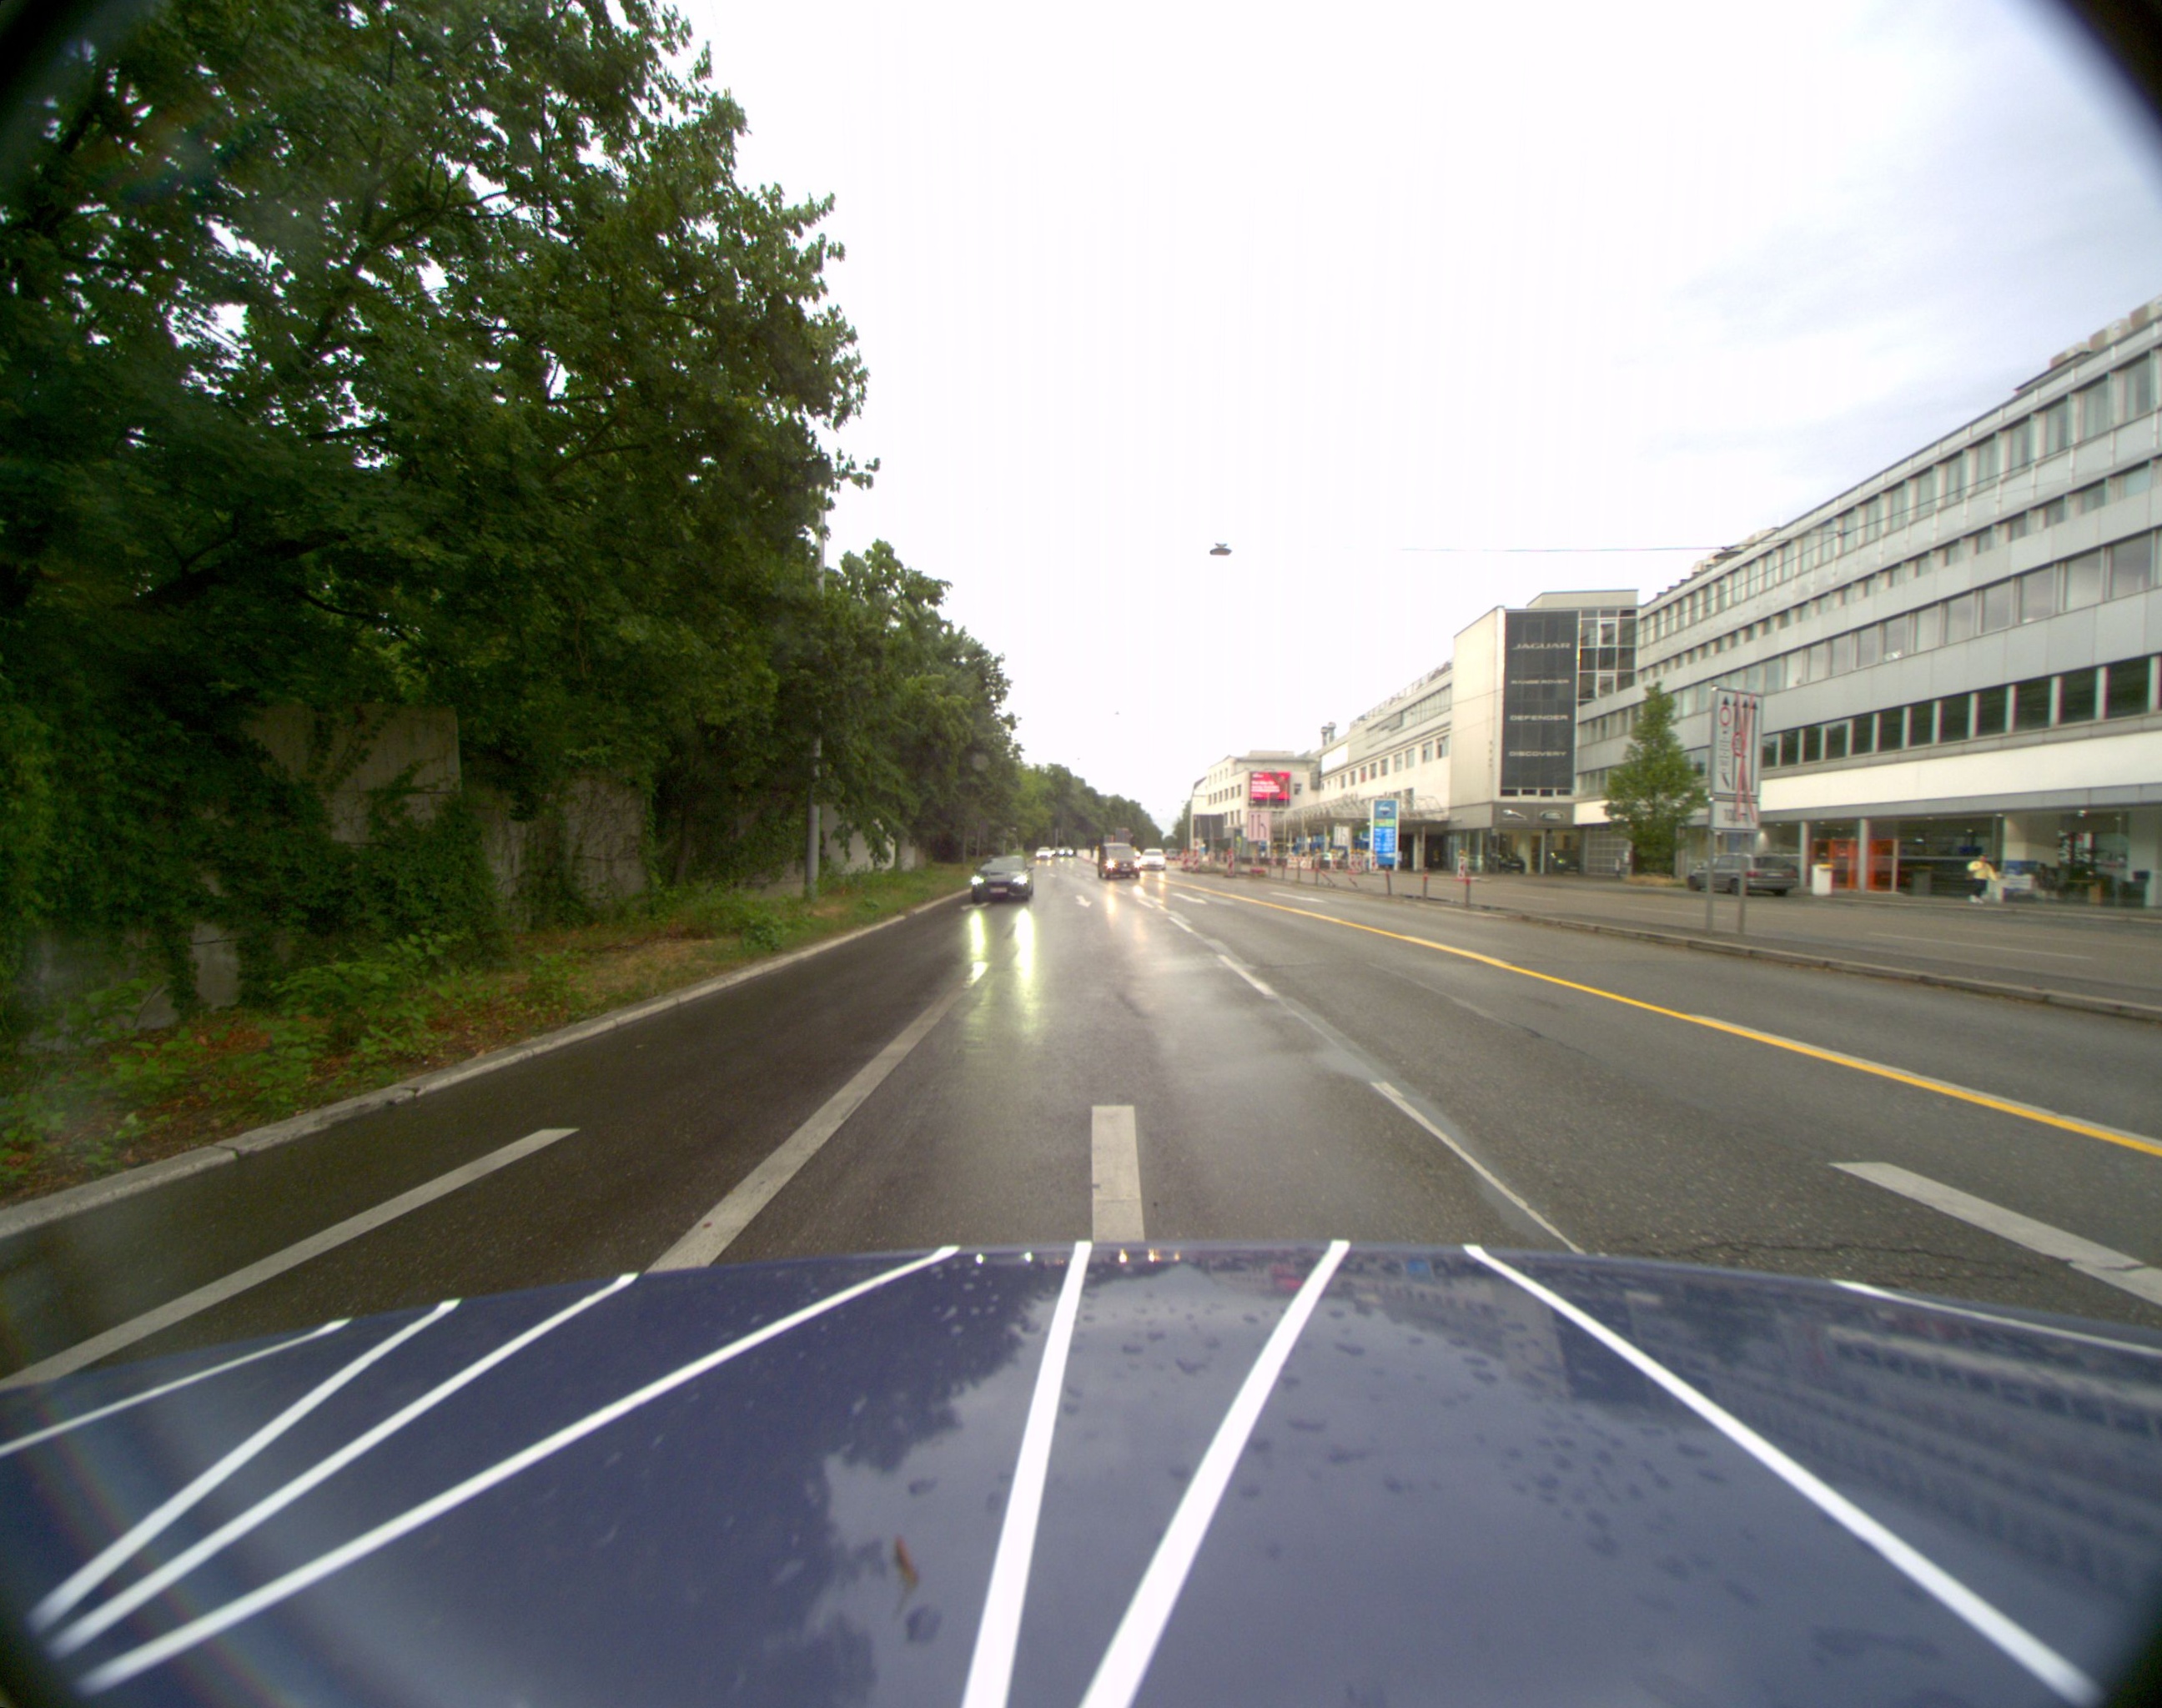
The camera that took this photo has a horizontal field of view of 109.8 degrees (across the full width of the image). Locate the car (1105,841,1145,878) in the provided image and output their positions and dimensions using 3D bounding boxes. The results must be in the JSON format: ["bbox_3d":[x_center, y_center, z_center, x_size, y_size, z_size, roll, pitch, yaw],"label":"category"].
[{"bbox_3d":[2.253,0.251,40.128,1.905,1.804,4.430,-2,1,2],"label":"car"}]

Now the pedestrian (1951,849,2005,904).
[{"bbox_3d":[29.891,0.726,25.336,0.761,1.765,0.864,-2,1,8],"label":"pedestrian"}]

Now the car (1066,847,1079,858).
[{"bbox_3d":[-1.256,-0.284,115.560,1.814,1.590,4.333,-2,1,1],"label":"car"}]

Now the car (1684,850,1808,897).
[{"bbox_3d":[28.277,0.768,32.490,1.922,1.805,4.166,-2,1,6],"label":"car"}]

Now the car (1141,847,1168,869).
[{"bbox_3d":[5.157,0.238,53.531,1.770,1.407,4.334,-2,1,5],"label":"car"}]

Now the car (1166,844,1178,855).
[{"bbox_3d":[14.874,-0.752,124.041,1.608,1.635,3.379,-2,1,2],"label":"car"}]

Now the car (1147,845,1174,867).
[{"bbox_3d":[6.268,0.104,60.195,1.771,1.608,3.949,-2,1,2],"label":"car"}]

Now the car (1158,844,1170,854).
[{"bbox_3d":[14.865,-0.921,136.664,1.798,1.753,3.727,-2,1,2],"label":"car"}]

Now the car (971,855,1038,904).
[{"bbox_3d":[-2.428,0.781,25.176,1.753,1.395,4.414,-3,0,-1],"label":"car"}]

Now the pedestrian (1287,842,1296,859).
[{"bbox_3d":[23.244,-0.366,83.747,0.894,1.804,0.942,-2,1,14],"label":"pedestrian"}]

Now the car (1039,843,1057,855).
[{"bbox_3d":[-4.026,-0.627,92.315,1.814,1.444,4.333,-2,1,2],"label":"car"}]

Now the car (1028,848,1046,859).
[{"bbox_3d":[-6.811,-0.111,118.393,1.813,1.590,4.336,-2,1,10],"label":"car"}]

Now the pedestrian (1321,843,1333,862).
[{"bbox_3d":[23.898,-0.178,73.837,0.895,1.804,0.941,-2,1,5],"label":"pedestrian"}]
